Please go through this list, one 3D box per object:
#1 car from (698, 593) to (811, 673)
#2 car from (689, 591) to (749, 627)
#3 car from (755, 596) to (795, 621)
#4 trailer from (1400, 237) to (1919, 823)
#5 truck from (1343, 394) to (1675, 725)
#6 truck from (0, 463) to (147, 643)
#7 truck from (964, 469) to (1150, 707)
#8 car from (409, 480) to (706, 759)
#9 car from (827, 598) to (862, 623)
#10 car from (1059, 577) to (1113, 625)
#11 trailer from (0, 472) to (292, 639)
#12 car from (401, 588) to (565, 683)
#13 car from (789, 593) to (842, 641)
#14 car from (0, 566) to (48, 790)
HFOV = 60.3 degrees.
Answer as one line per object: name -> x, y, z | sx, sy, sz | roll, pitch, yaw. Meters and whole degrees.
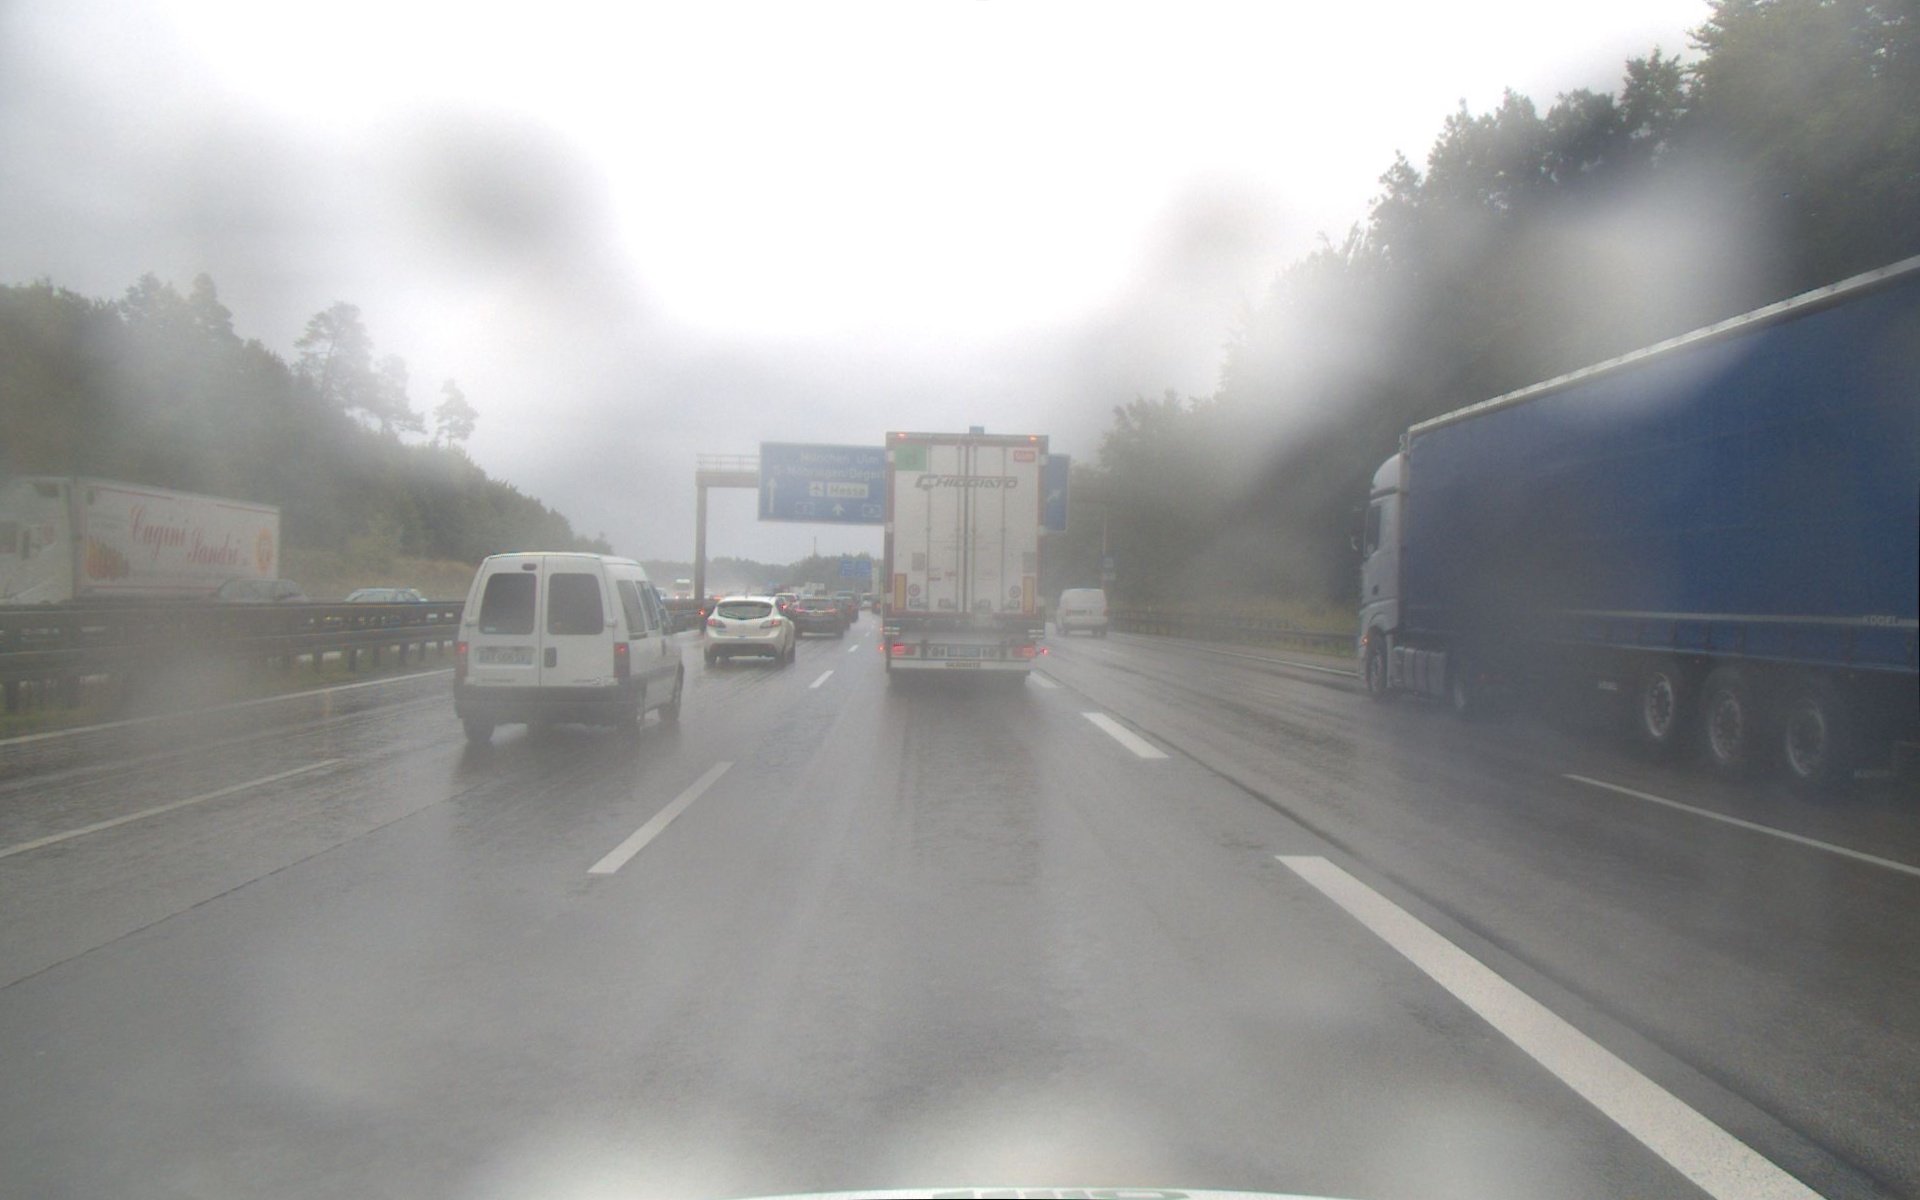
car -> -4.486, 0.684, 36.676 | 1.807, 1.619, 4.073 | 1, 1, 2
car -> -9.675, 0.332, 66.659 | 1.808, 1.354, 4.465 | 1, 1, -1
car -> -10.434, 0.465, 93.322 | 1.808, 1.354, 4.465 | 1, 1, -1
trailer -> 7.785, -0.490, 16.955 | 2.502, 4.084, 13.710 | 1, 0, -2
truck -> 7.553, -0.510, 23.643 | 2.549, 4.084, 6.010 | 1, 0, -2
truck -> -22.801, -1.104, 40.770 | 2.489, 4.096, 6.321 | 1, 0, -2
truck -> 1.636, -0.178, 31.224 | 2.813, 3.624, 11.304 | 1, 0, 1
car -> -4.209, 0.165, 18.251 | 2.168, 2.618, 5.014 | 1, 1, -2
car -> -6.722, 0.574, 96.596 | 1.808, 1.354, 4.465 | 1, 1, -1
car -> 5.398, 0.025, 71.314 | 1.949, 1.954, 4.767 | 1, 1, 0
trailer -> -23.155, -1.125, 48.026 | 2.489, 4.096, 13.843 | 1, 0, -3
car -> -8.974, 0.612, 31.488 | 1.808, 1.619, 4.466 | 1, 1, 0
car -> -5.272, 0.600, 60.000 | 1.810, 1.619, 4.461 | 1, 1, -6
car -> -7.835, 0.568, 10.325 | 1.808, 1.619, 4.466 | 1, 1, 0
